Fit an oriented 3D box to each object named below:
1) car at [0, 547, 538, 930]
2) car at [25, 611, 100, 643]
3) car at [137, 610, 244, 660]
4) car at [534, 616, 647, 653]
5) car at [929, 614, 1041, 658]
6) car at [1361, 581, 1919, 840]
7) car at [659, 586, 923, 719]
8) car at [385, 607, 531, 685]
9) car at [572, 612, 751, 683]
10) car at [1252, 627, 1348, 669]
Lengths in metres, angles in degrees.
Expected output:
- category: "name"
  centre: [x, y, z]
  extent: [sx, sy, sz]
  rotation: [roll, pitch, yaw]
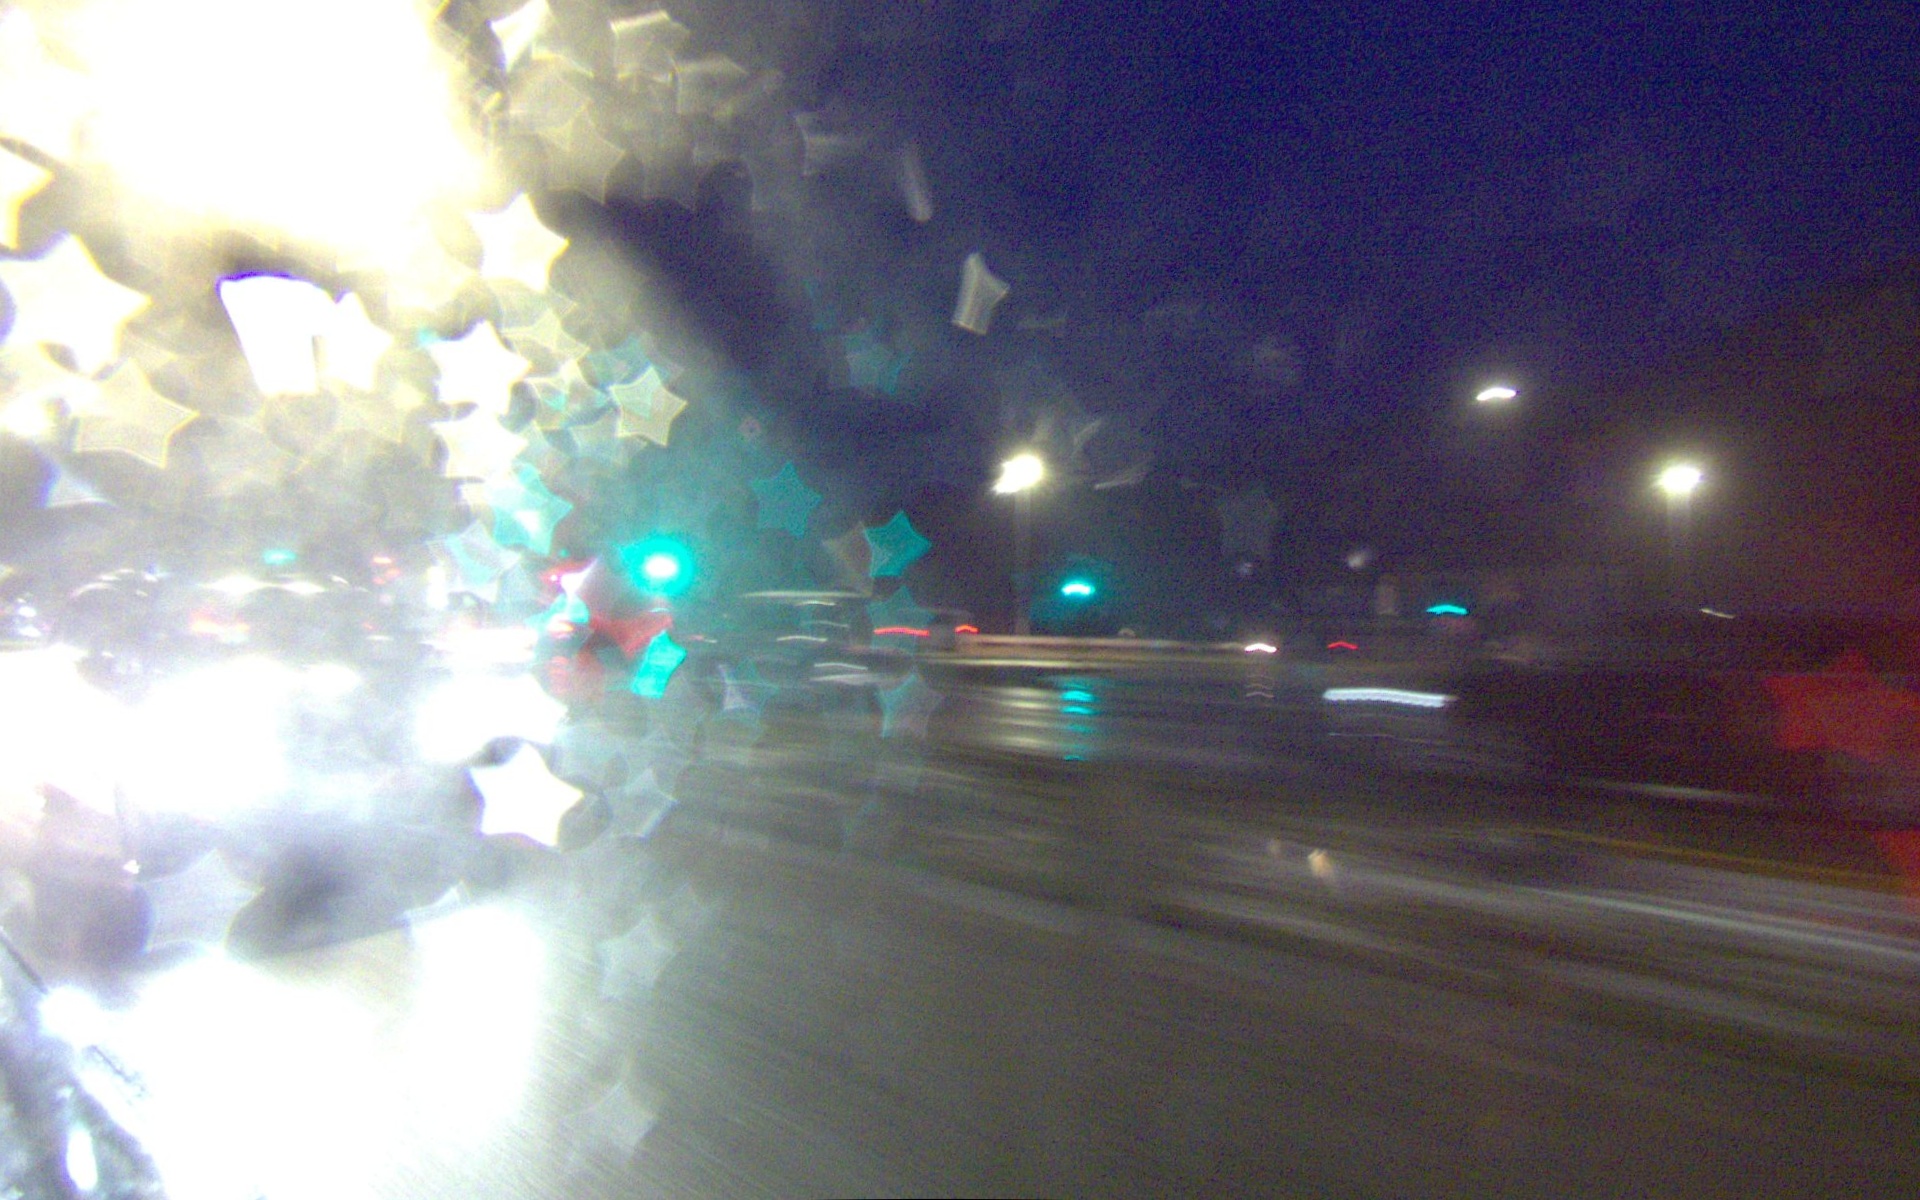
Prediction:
- category: "car"
  centre: [-4.977, 0.657, 6.908]
  extent: [4.936, 1.717, 1.889]
  rotation: [-1, -1, 41]
- category: "car"
  centre: [-47.599, 1.403, 53.633]
  extent: [4.900, 1.583, 1.777]
  rotation: [0, -1, 34]
- category: "car"
  centre: [-26.307, 1.153, 34.548]
  extent: [4.704, 1.583, 1.683]
  rotation: [0, -1, 37]
- category: "car"
  centre: [-15.875, 1.455, 43.596]
  extent: [4.079, 1.460, 2.180]
  rotation: [1, 0, 1]
- category: "car"
  centre: [1.143, 1.658, 47.141]
  extent: [4.841, 1.954, 2.005]
  rotation: [1, 0, -14]
- category: "car"
  centre: [5.550, 0.657, 7.358]
  extent: [4.600, 1.545, 1.689]
  rotation: [1, 0, 43]
- category: "car"
  centre: [-2.621, 0.673, 15.085]
  extent: [4.143, 1.716, 1.699]
  rotation: [0, 0, 43]
- category: "car"
  centre: [-11.129, 0.946, 22.368]
  extent: [3.649, 1.537, 1.569]
  rotation: [1, 0, 40]
- category: "car"
  centre: [-6.689, 0.991, 22.443]
  extent: [4.407, 1.364, 1.700]
  rotation: [0, 0, 41]
- category: "car"
  centre: [16.110, 2.263, 48.126]
  extent: [4.058, 1.796, 1.993]
  rotation: [1, 0, 12]
